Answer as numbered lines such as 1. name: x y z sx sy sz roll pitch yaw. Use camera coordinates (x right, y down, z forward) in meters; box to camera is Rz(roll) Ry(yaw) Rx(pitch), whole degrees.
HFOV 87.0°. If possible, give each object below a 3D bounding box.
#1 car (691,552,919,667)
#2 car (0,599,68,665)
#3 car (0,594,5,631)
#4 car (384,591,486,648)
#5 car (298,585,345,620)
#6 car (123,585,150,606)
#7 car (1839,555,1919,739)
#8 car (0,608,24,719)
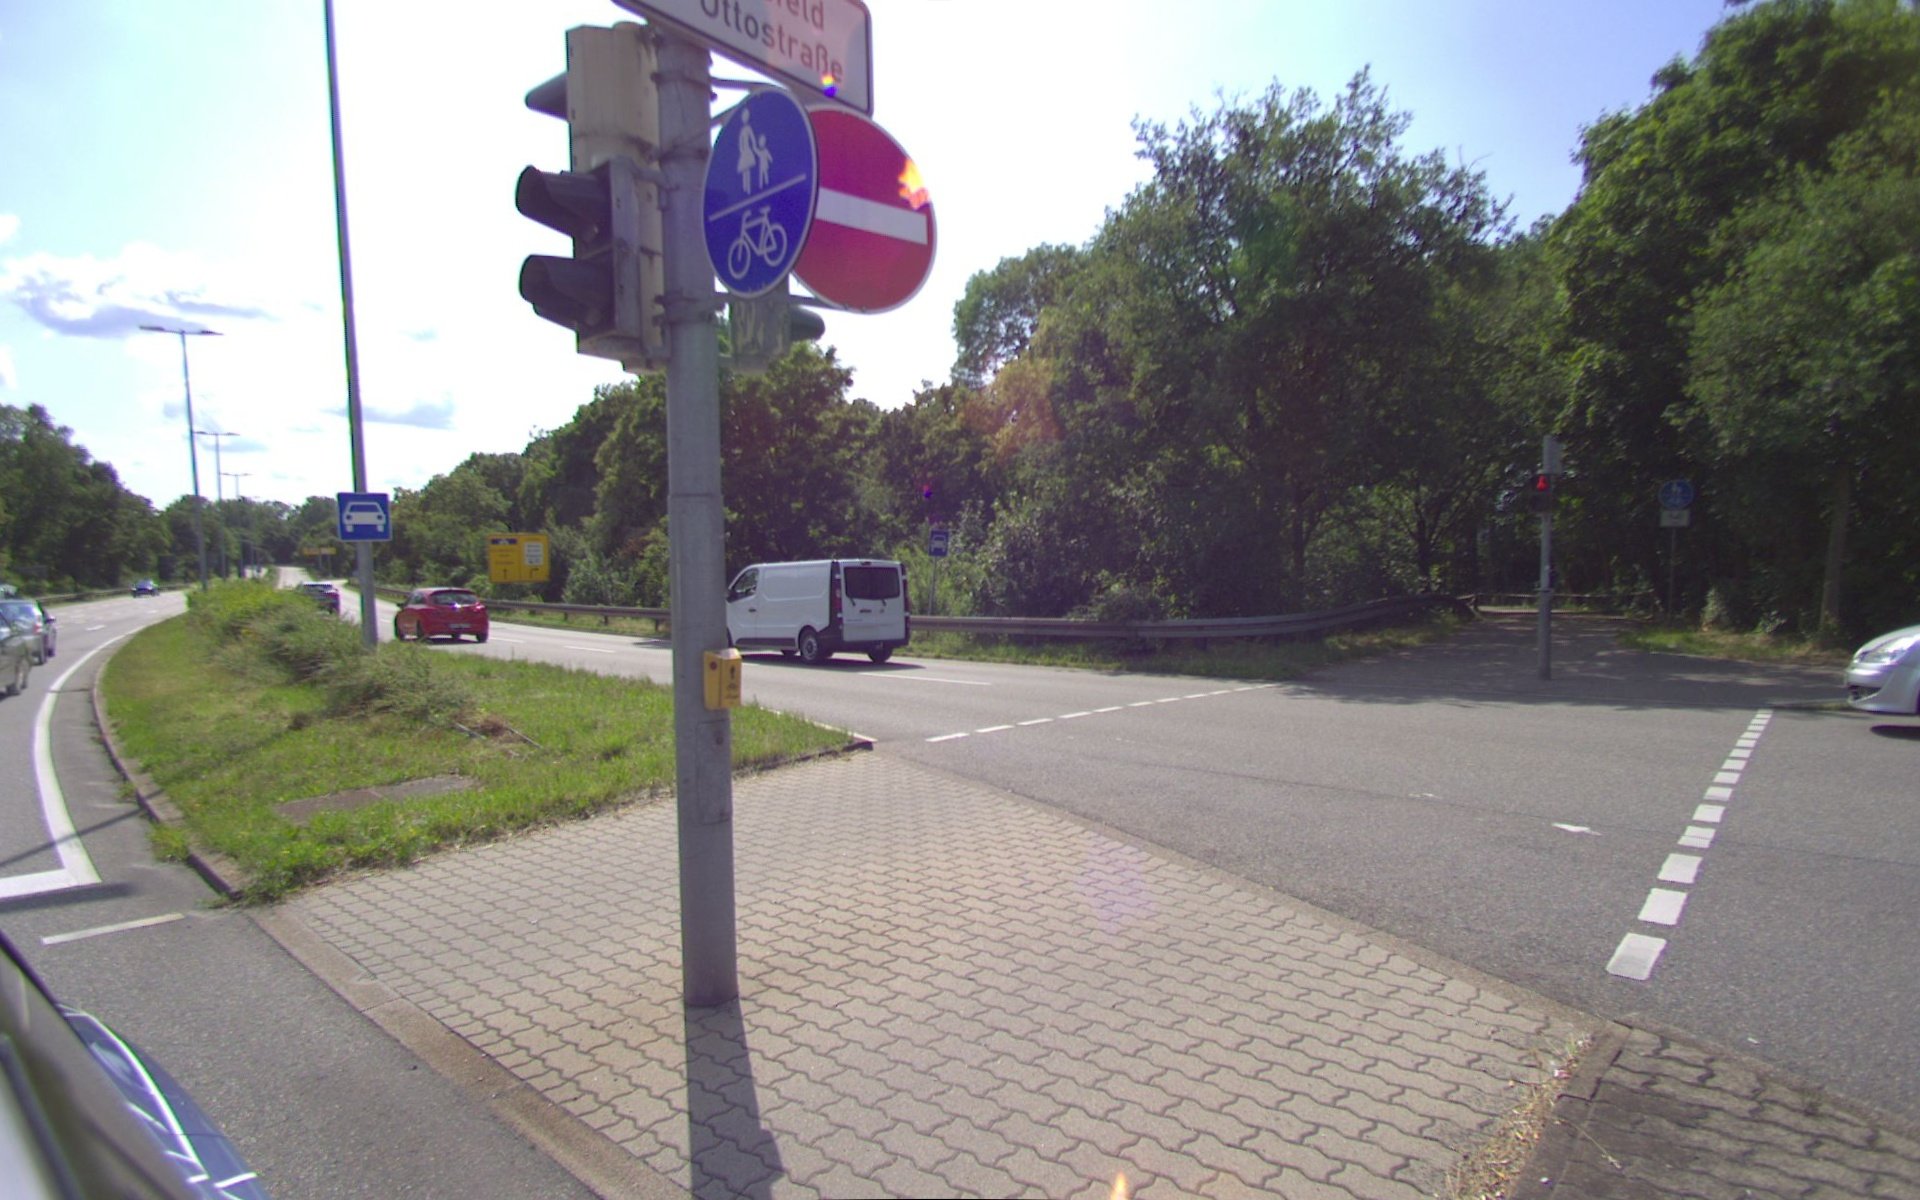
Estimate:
1. car: -3.263 0.186 20.413 1.970 2.029 5.140 1 -1 -44
2. car: -22.269 0.725 23.506 1.829 1.421 4.010 -2 1 -35
3. car: -37.608 0.522 38.076 1.829 1.421 4.010 -2 1 -35
4. car: -14.554 0.500 27.972 1.562 1.443 4.005 -1 0 -42
5. car: -30.238 0.115 47.886 1.687 1.598 4.293 0 0 -35
6. car: -82.910 -0.510 101.938 1.946 2.029 4.009 -1 1 -36
7. car: 9.731 0.352 8.043 4.065 1.532 1.715 -2 -1 40
8. car: -13.427 0.808 12.964 1.830 1.373 4.008 0 0 -39
